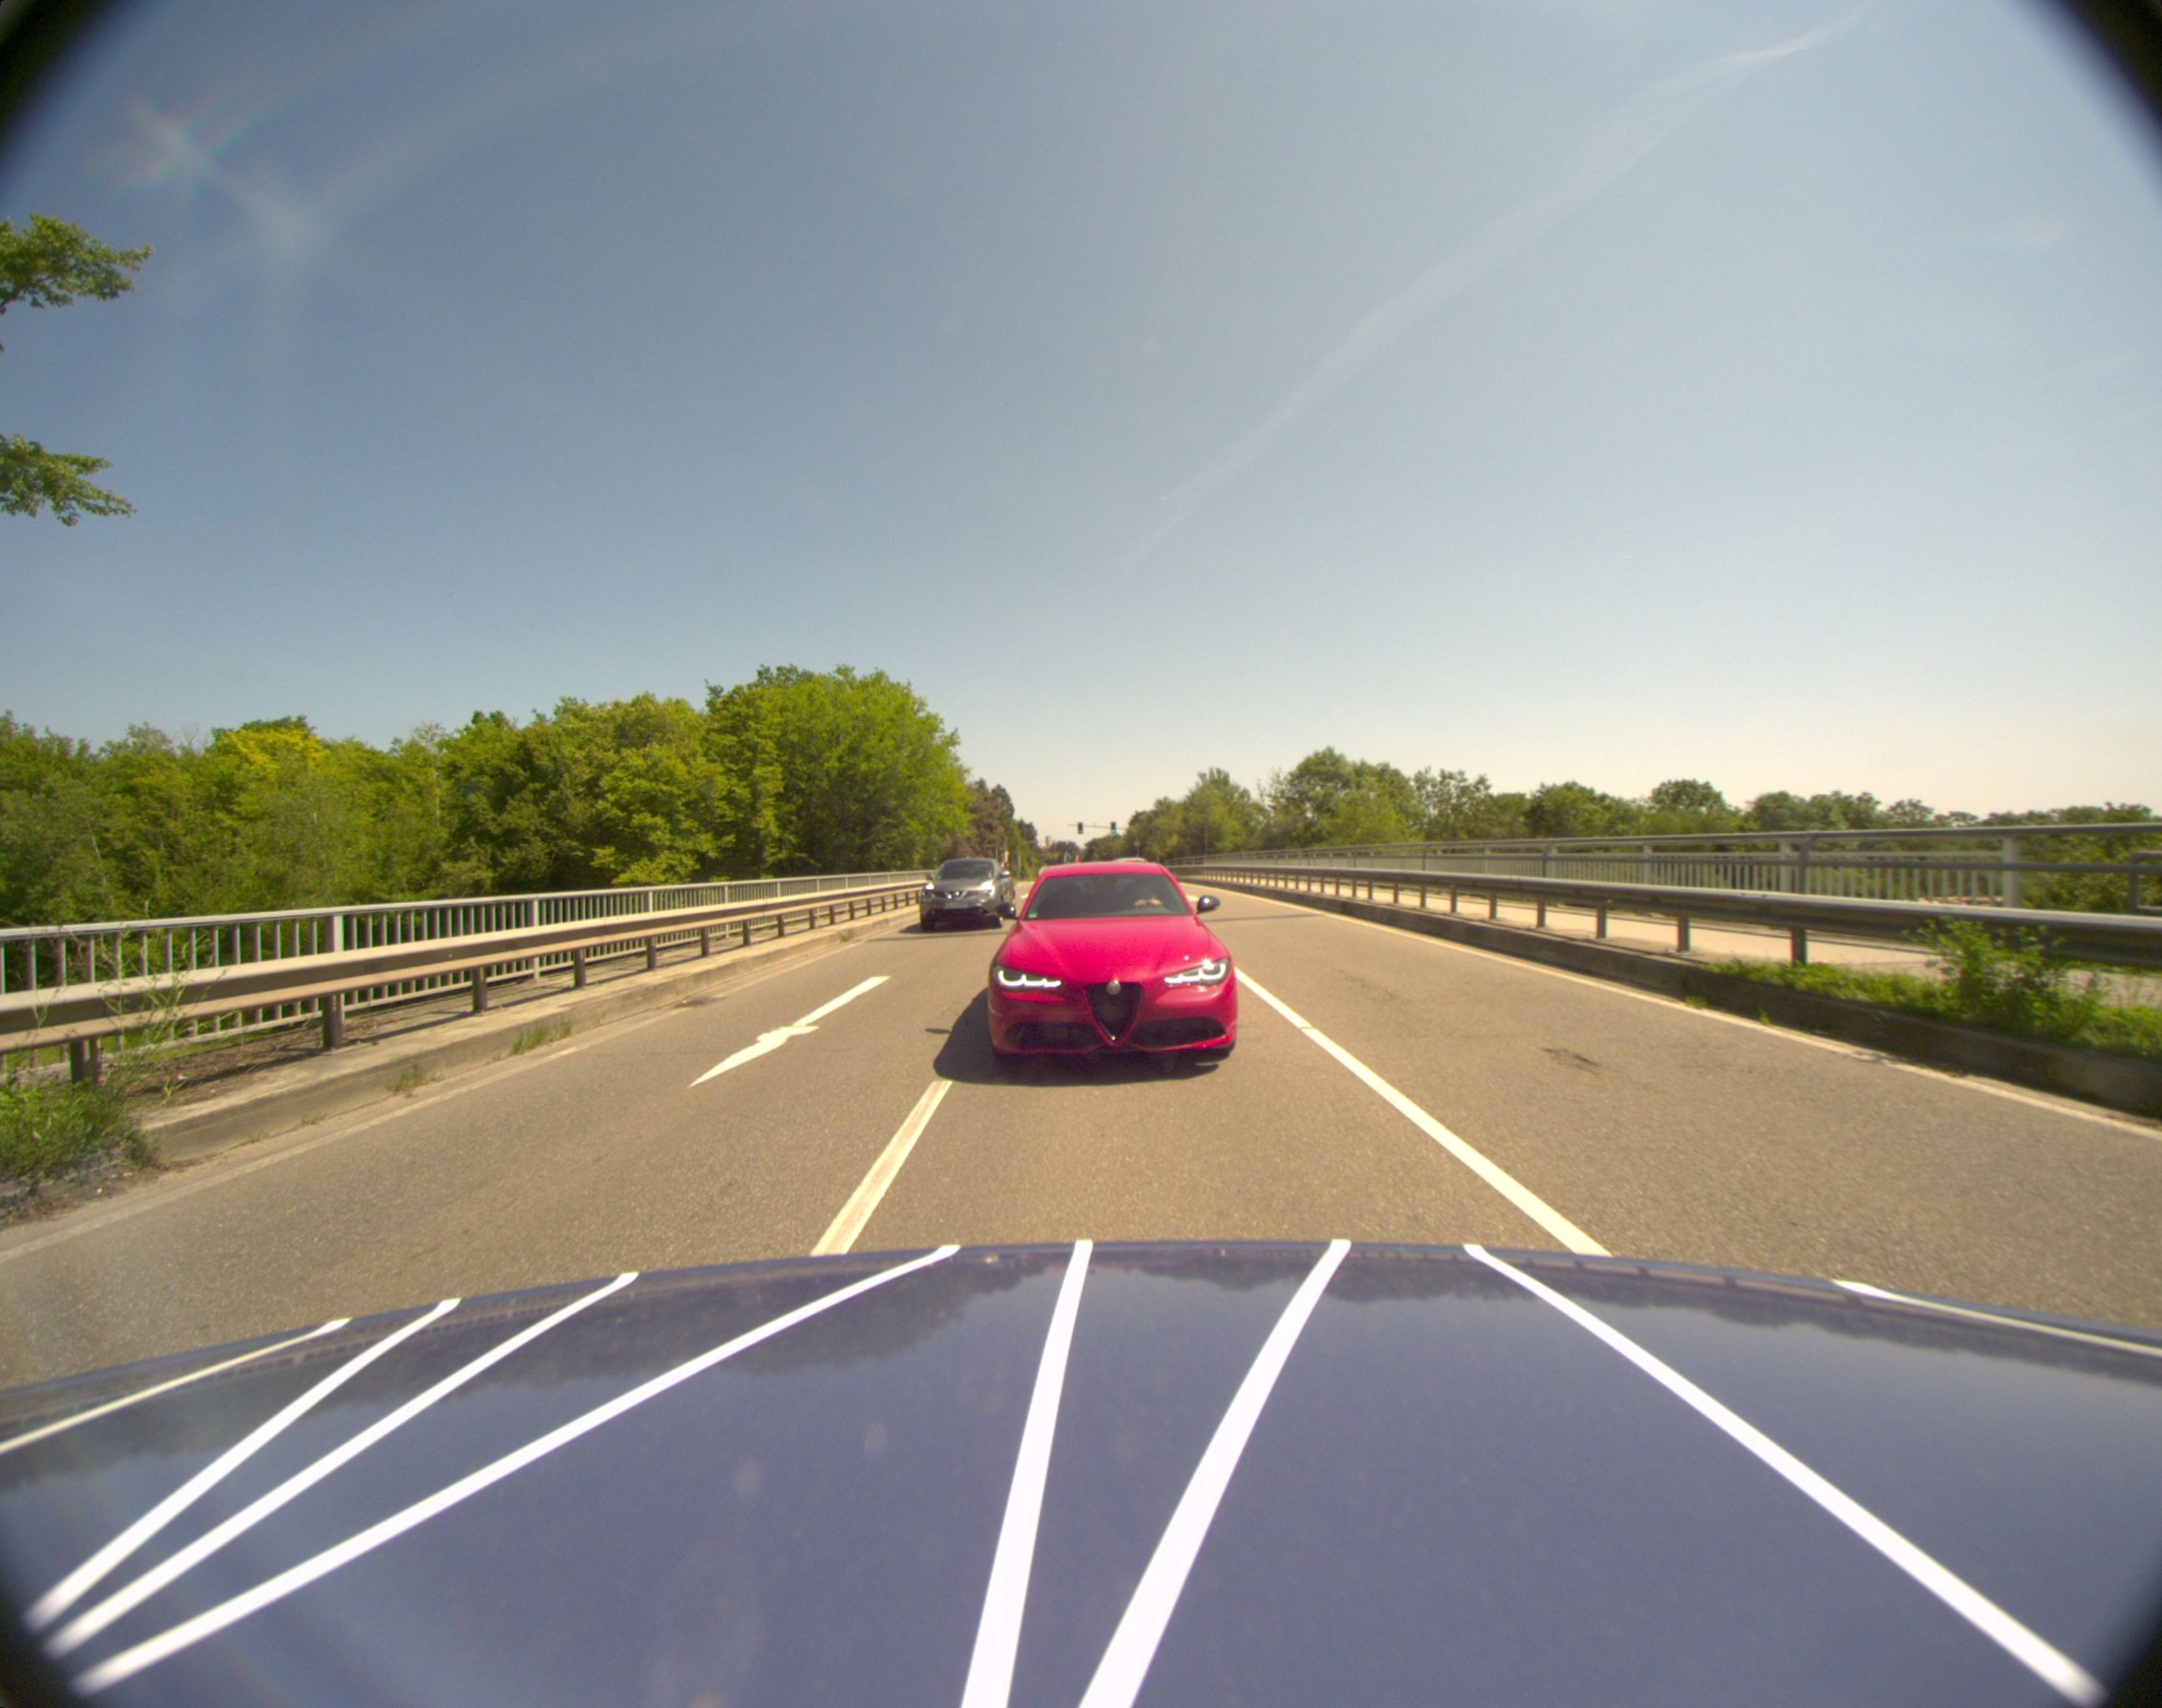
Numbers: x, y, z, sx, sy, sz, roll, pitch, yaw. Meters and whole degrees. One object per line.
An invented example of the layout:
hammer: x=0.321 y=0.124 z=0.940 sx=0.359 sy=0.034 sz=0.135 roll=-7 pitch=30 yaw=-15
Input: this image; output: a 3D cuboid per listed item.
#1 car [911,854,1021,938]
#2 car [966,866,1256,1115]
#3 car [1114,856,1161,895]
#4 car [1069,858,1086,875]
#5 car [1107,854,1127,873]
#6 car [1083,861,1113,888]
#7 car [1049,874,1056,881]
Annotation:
car: x=-2.552 y=0.879 z=17.792 sx=1.848 sy=1.675 sz=4.000 roll=-2 pitch=0 yaw=1
car: x=0.224 y=0.907 z=6.964 sx=1.800 sy=1.448 sz=4.285 roll=-2 pitch=0 yaw=1
car: x=2.307 y=0.857 z=31.820 sx=1.800 sy=1.448 sz=3.706 roll=-2 pitch=0 yaw=2
car: x=-0.362 y=1.278 z=80.873 sx=1.633 sy=1.667 sz=3.489 roll=-2 pitch=1 yaw=0
car: x=3.540 y=0.955 z=74.918 sx=1.848 sy=1.758 sz=4.000 roll=-2 pitch=0 yaw=1
car: x=0.991 y=1.155 z=44.374 sx=1.647 sy=1.373 sz=3.938 roll=-2 pitch=0 yaw=1
car: x=-6.523 y=5.374 z=175.551 sx=1.416 sy=1.499 sz=3.316 roll=-1 pitch=1 yaw=0
